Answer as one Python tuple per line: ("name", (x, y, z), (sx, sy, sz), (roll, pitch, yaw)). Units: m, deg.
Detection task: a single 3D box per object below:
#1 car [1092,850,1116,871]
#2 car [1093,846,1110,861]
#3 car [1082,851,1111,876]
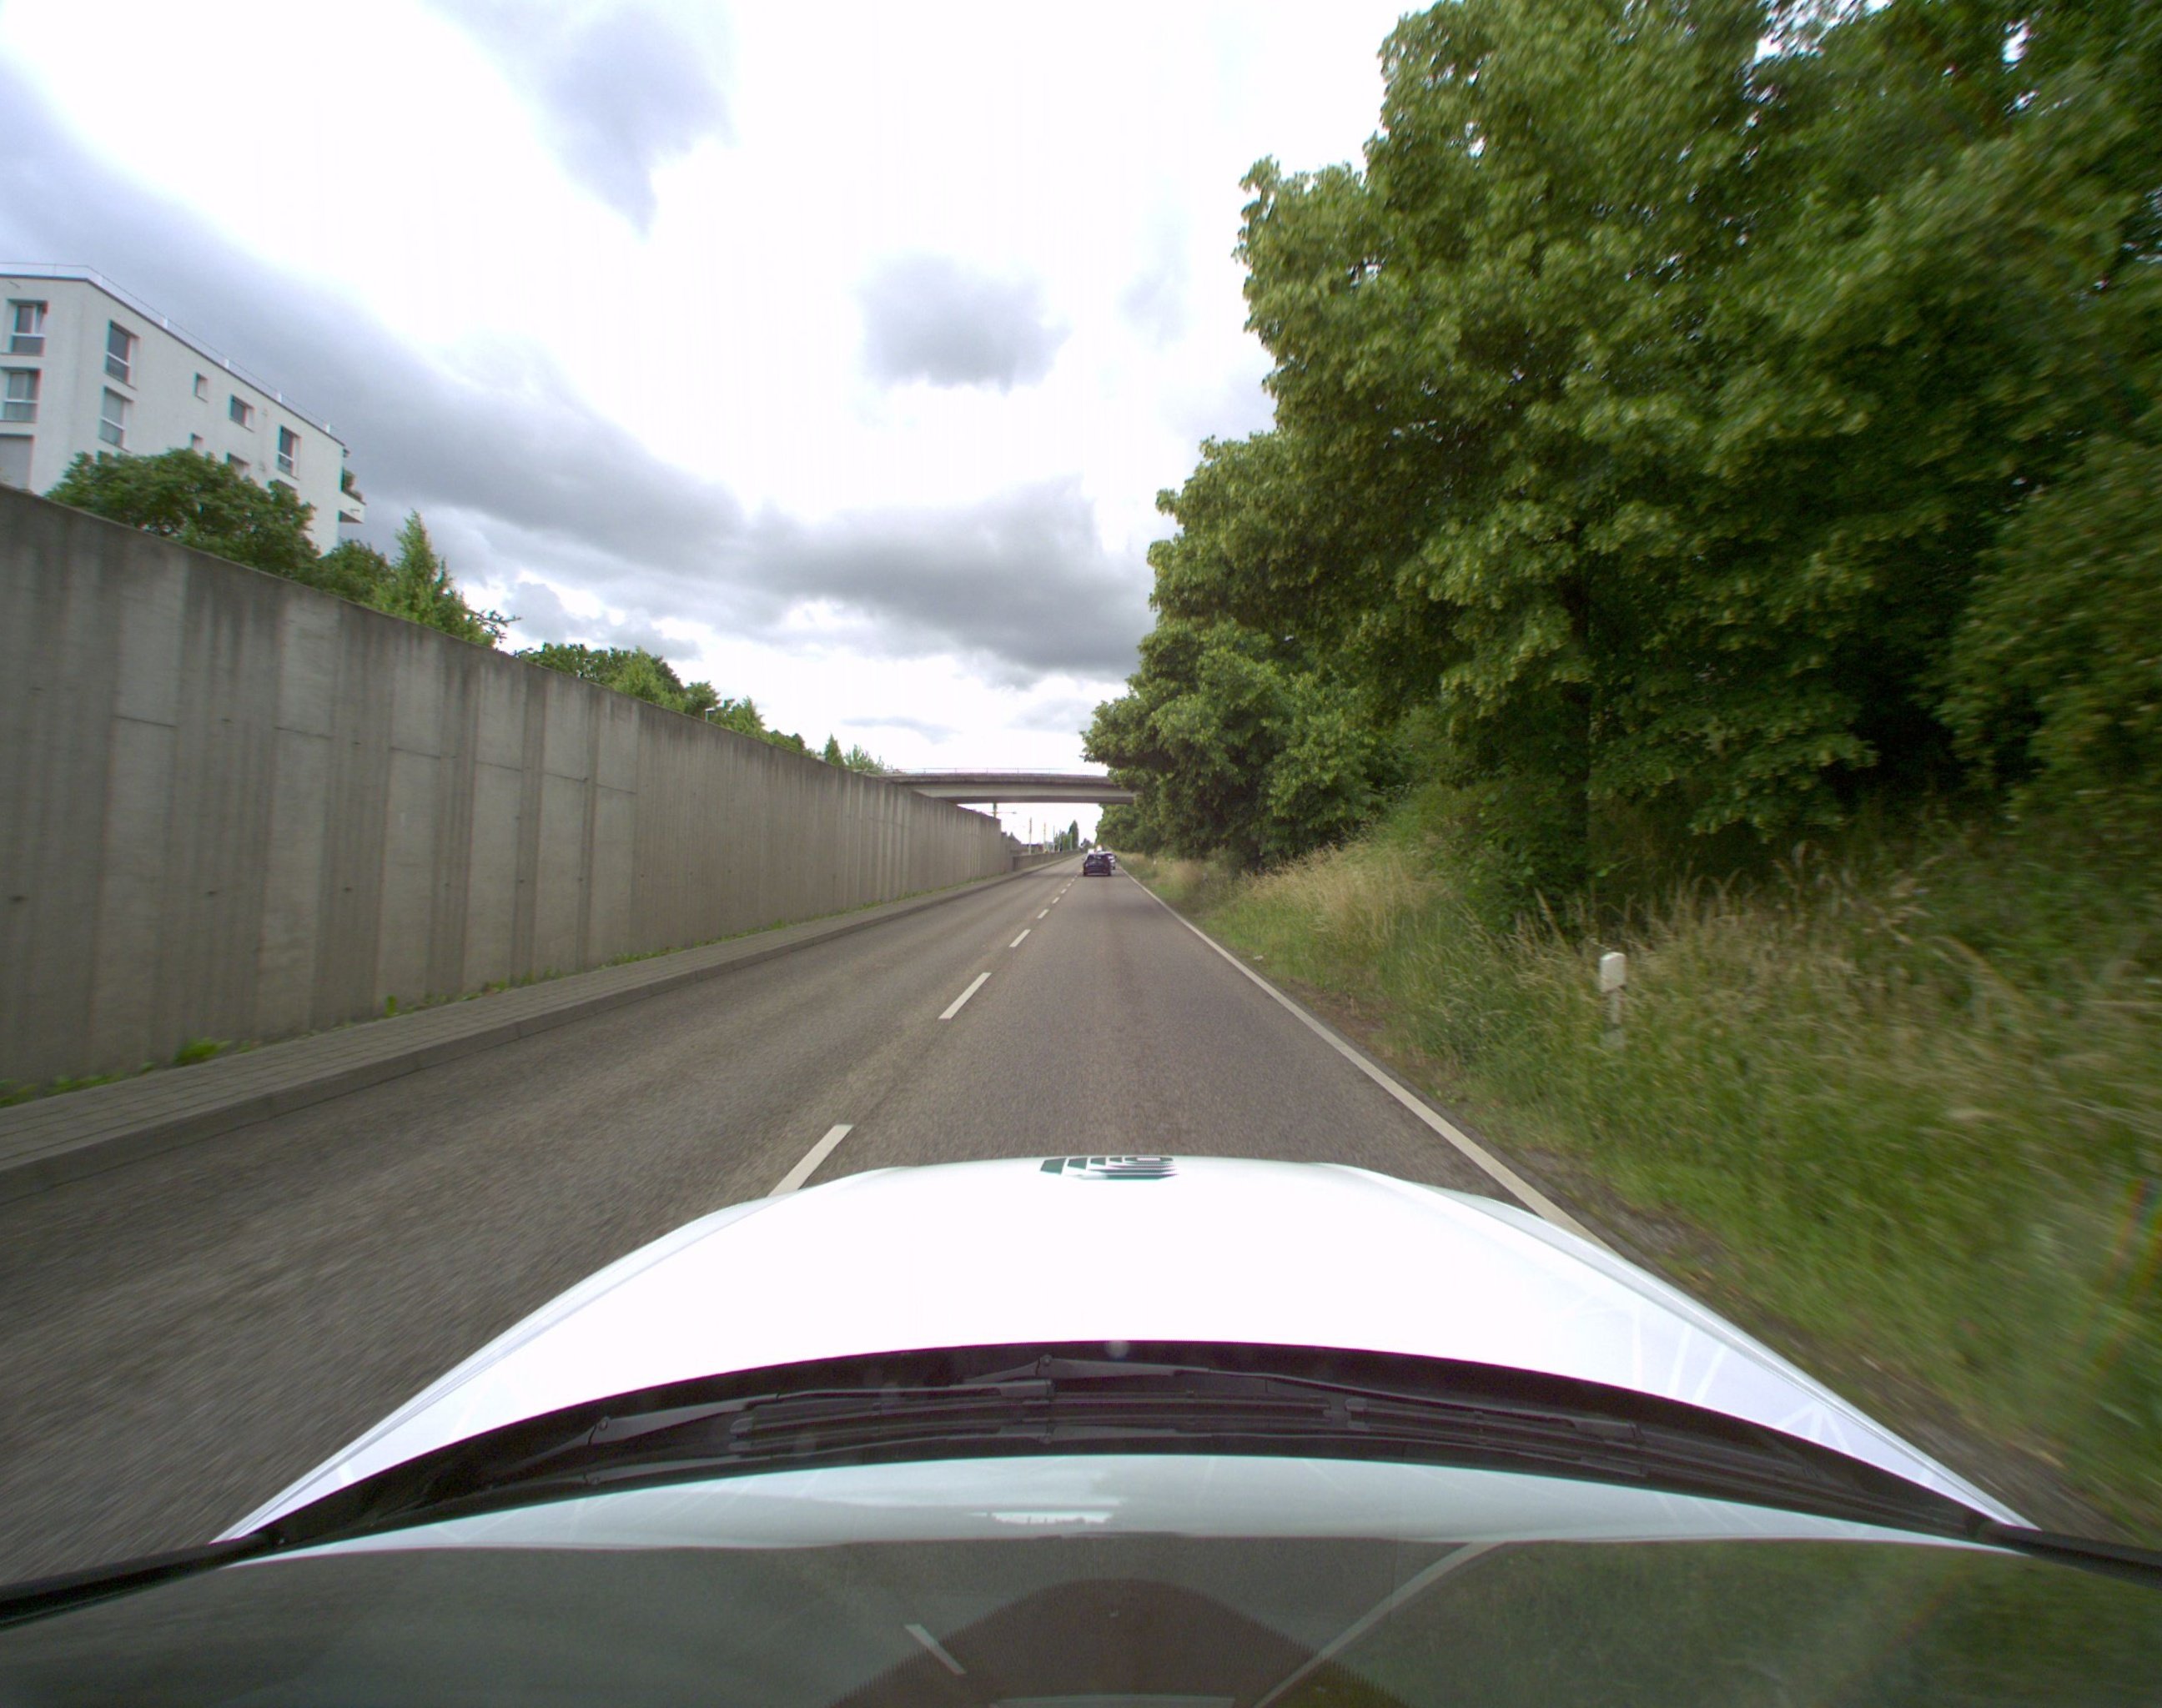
("car", (1.922, 0.530, 68.882), (1.986, 1.753, 4.001), (0, 0, 1))
("car", (2.373, -0.053, 93.769), (1.986, 1.740, 4.001), (0, -1, 1))
("car", (1.003, 0.582, 51.829), (1.775, 1.468, 4.001), (0, 0, 1))
